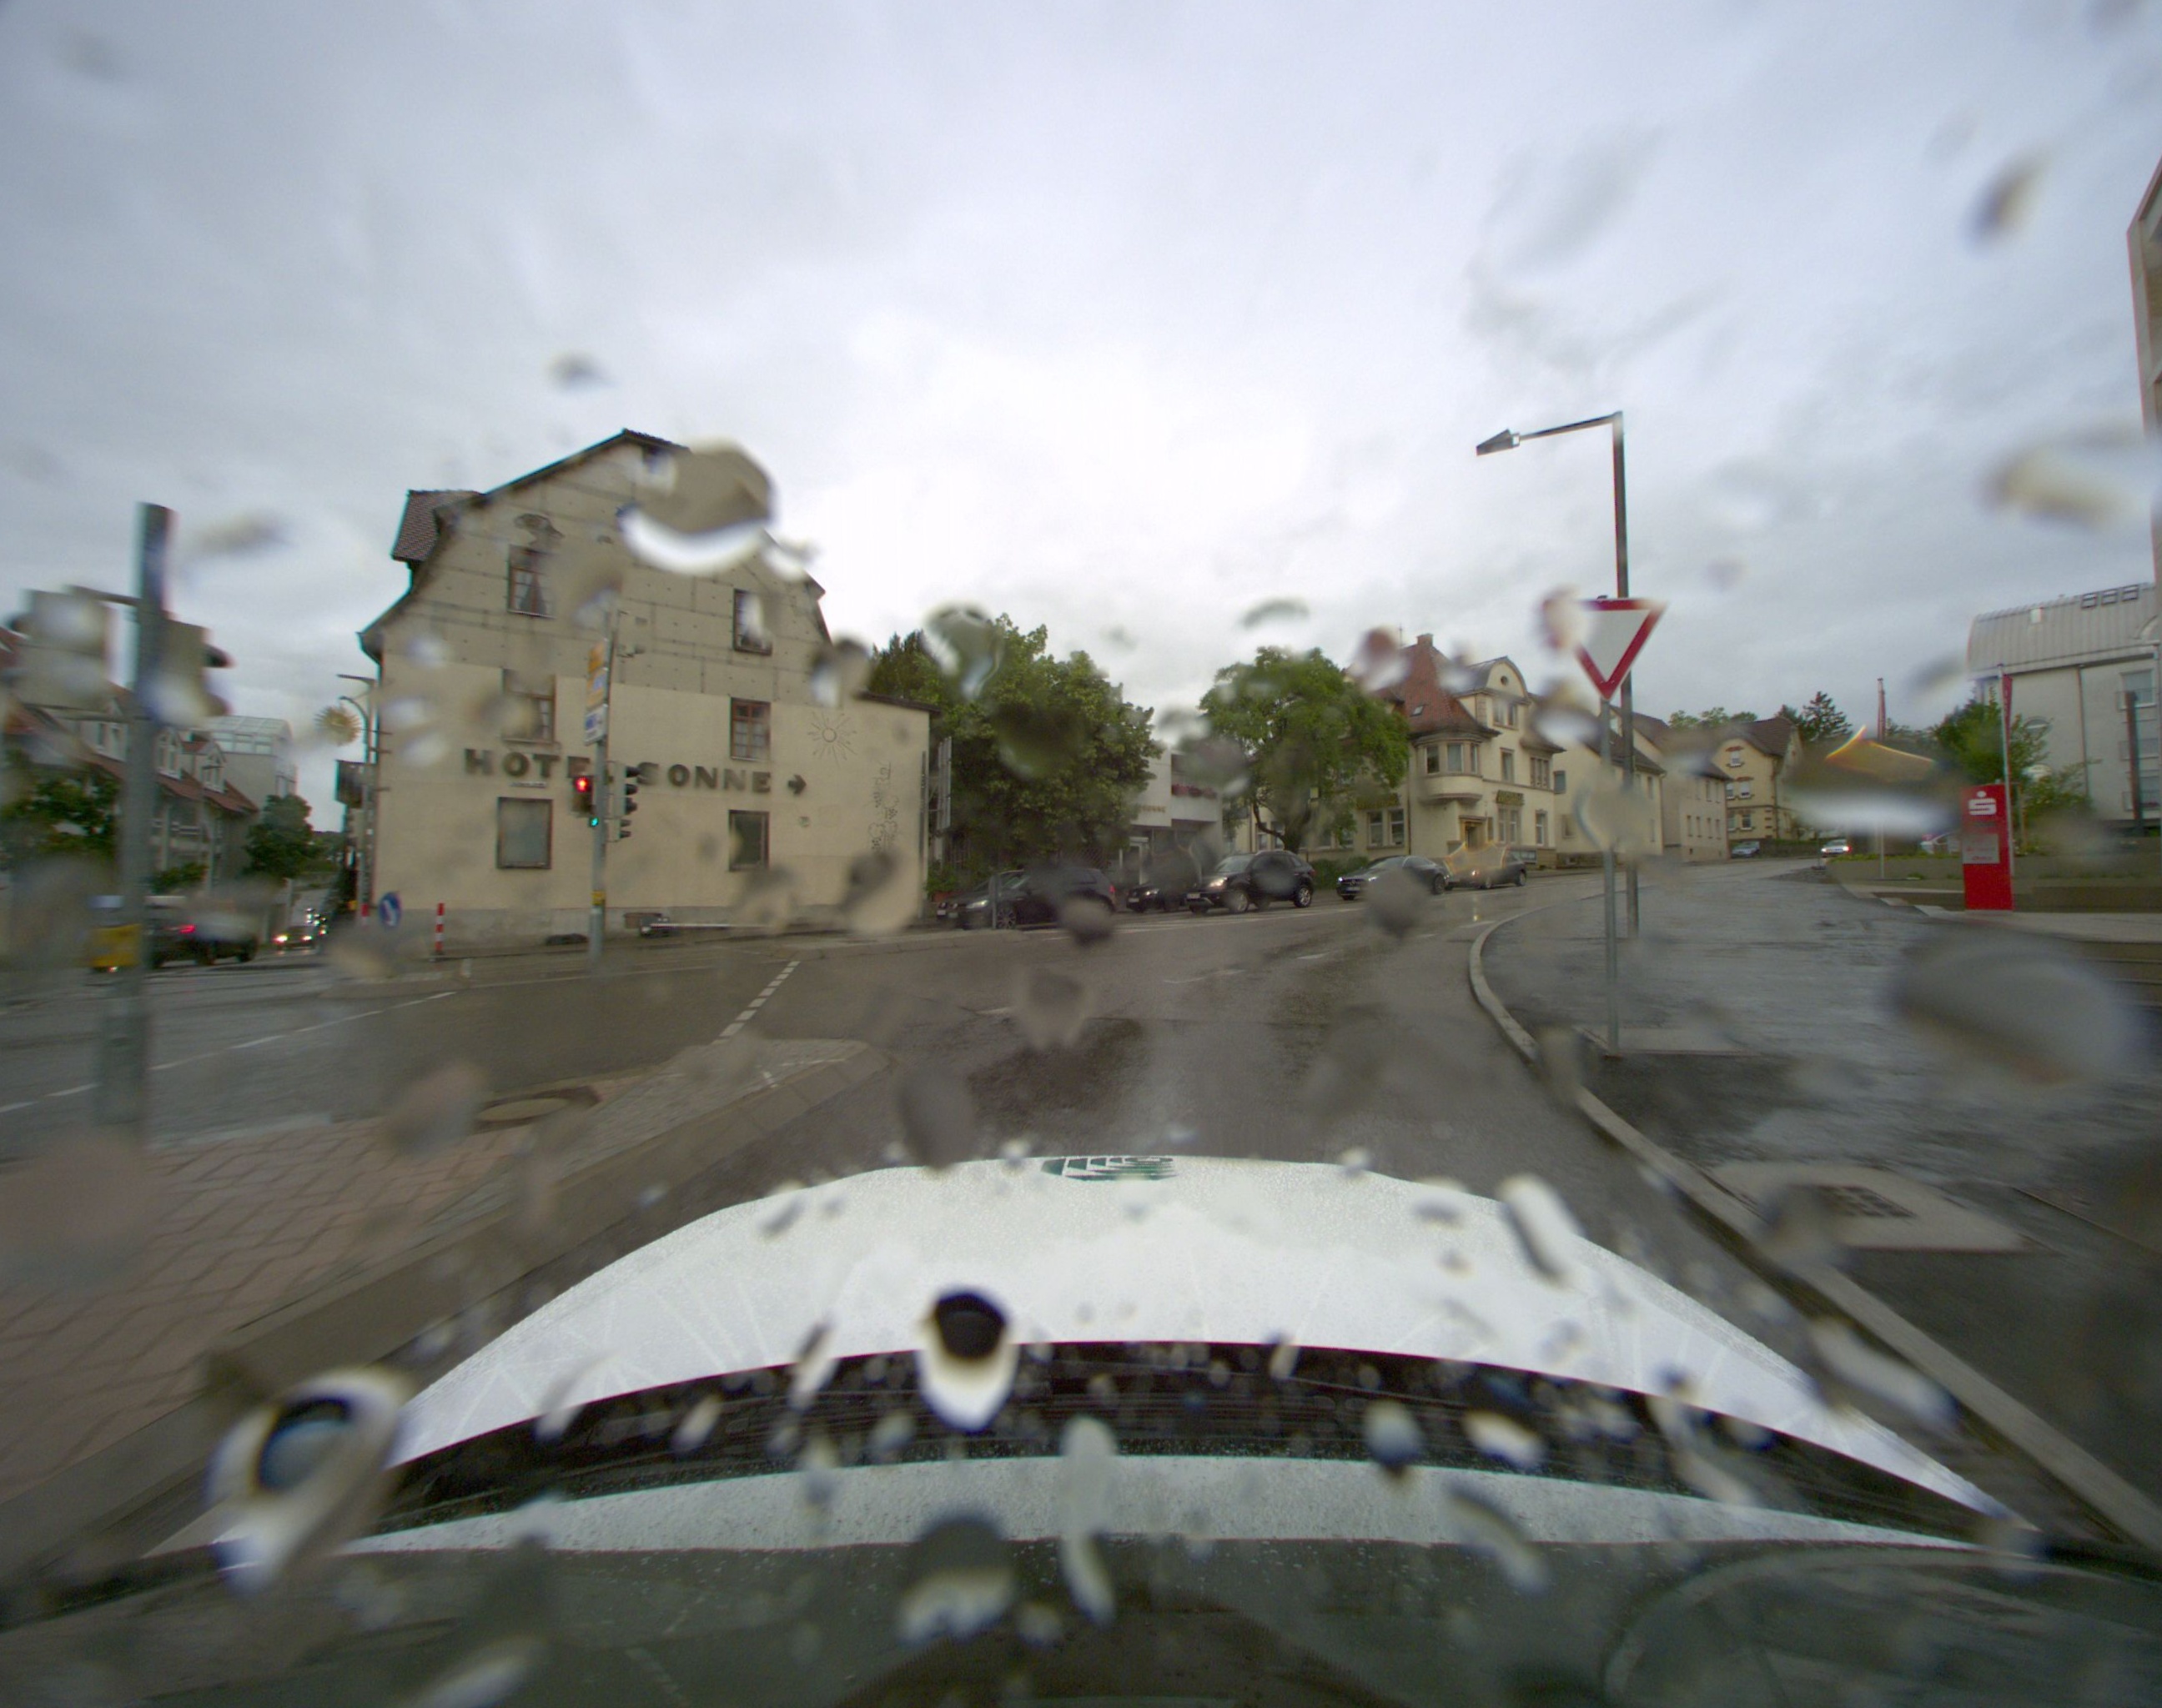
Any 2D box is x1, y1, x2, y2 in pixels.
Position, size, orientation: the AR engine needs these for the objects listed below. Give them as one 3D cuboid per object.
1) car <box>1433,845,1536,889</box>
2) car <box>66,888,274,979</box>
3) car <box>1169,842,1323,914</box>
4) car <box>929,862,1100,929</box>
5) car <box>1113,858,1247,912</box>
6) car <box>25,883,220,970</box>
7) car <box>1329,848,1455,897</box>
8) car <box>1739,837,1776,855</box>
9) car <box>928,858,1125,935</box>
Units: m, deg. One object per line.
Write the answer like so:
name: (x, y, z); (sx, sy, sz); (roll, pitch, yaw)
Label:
car: (15.619, 0.486, 31.474); (4.205, 1.452, 1.759); (-2, -3, -36)
car: (-21.183, 1.741, 19.205); (1.956, 1.566, 4.376); (1, 1, -30)
car: (4.761, 0.650, 23.273); (4.335, 1.816, 1.759); (-2, -3, -36)
car: (-1.731, 1.075, 21.794); (4.205, 1.519, 1.759); (-2, -3, -36)
car: (3.284, 0.992, 26.686); (4.205, 1.519, 1.759); (-2, -3, -36)
car: (-34.649, 2.474, 29.795); (2.604, 2.626, 6.492); (-2, 0, -31)
car: (10.646, 0.606, 27.783); (4.560, 1.452, 1.759); (-2, -3, -36)
car: (59.156, -0.682, 71.196); (3.245, 1.453, 1.678); (-2, 0, -34)
car: (-1.205, 0.957, 19.194); (4.336, 1.504, 1.758); (-1, -3, -38)
